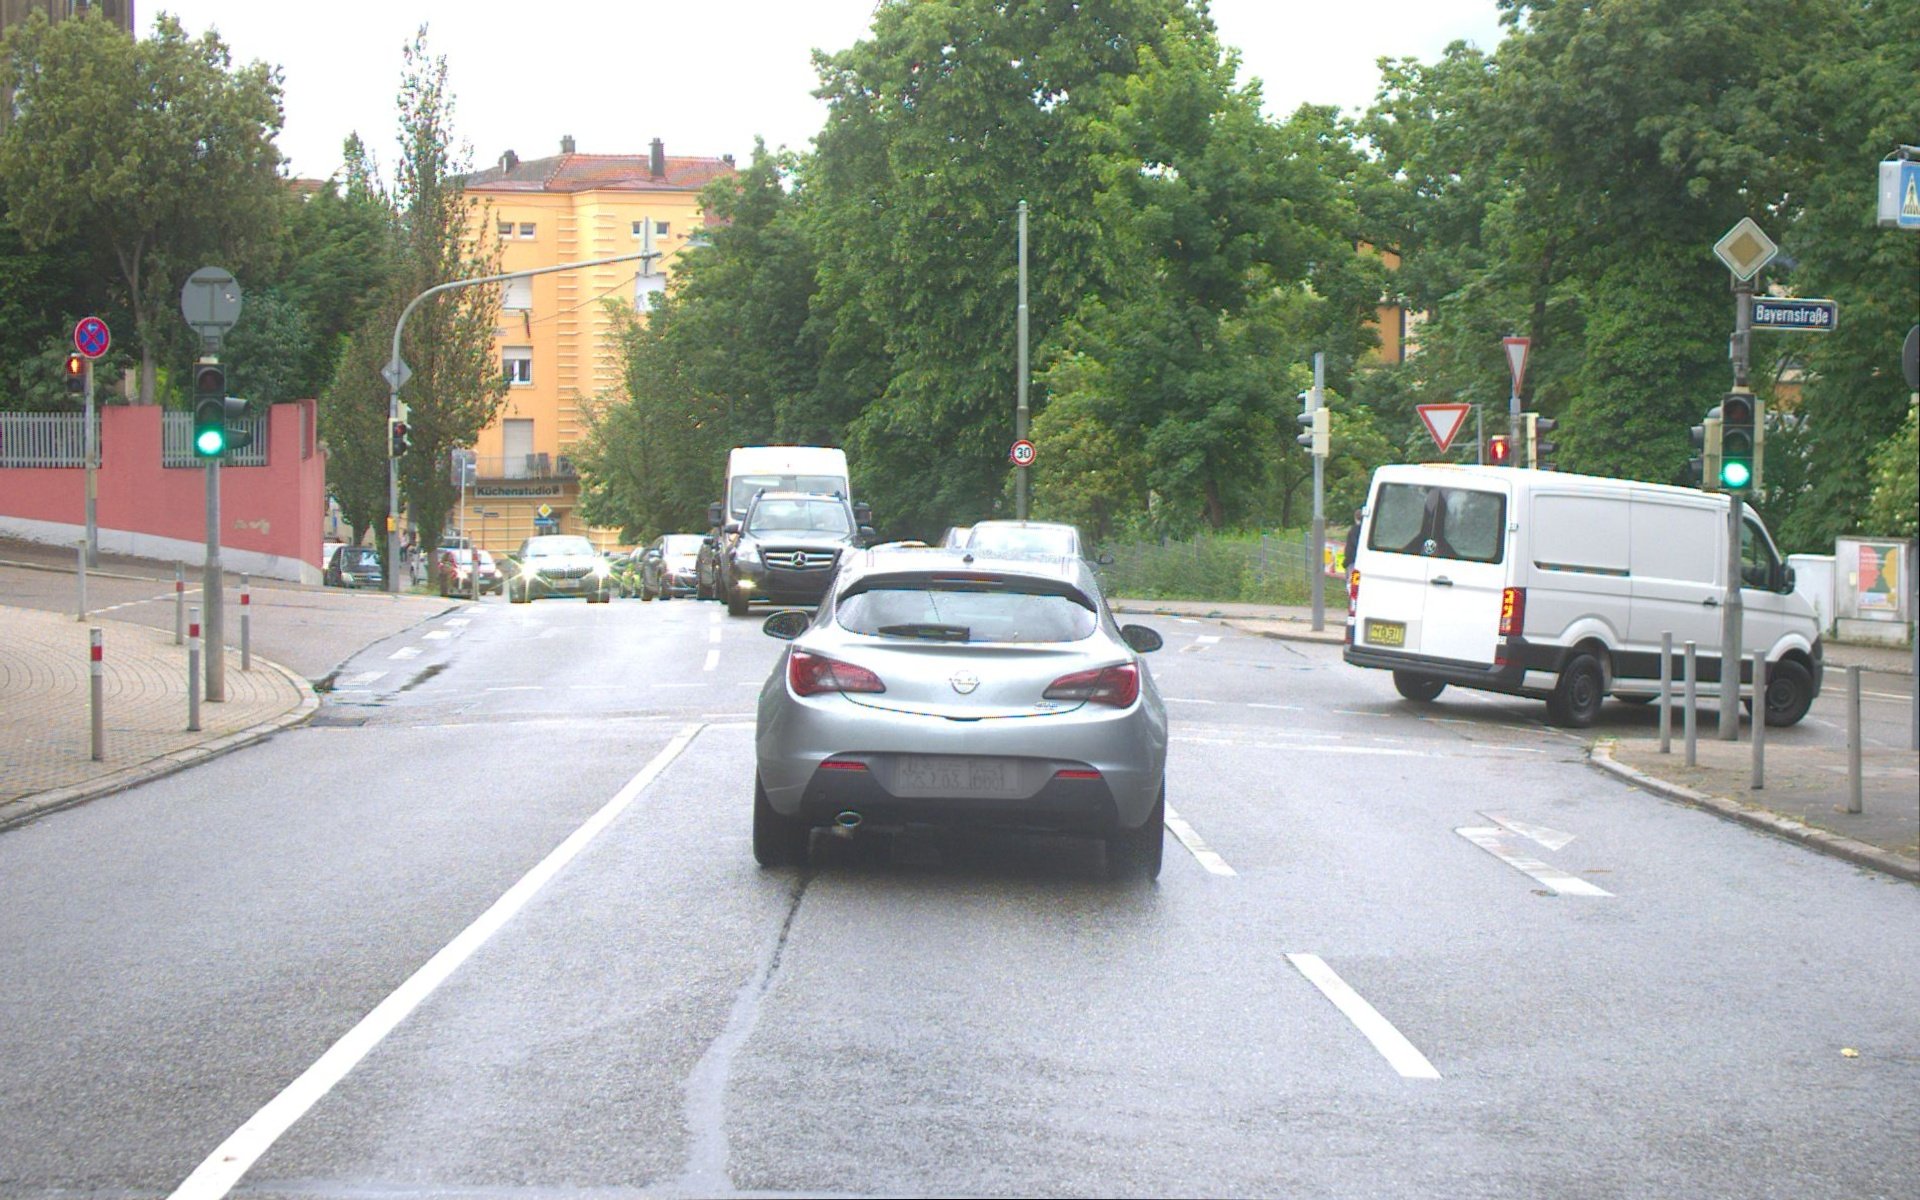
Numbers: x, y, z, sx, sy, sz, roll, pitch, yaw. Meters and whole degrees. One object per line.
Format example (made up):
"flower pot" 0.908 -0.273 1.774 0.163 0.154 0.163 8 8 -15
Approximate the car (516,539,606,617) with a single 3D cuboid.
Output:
"car" -8.473 -0.503 73.209 1.852 1.481 5.369 0 2 -6

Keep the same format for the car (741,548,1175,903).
"car" -0.036 0.504 16.568 1.815 1.425 4.000 1 2 -1

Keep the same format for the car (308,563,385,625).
"car" -16.884 -0.160 94.535 1.814 1.607 4.001 2 0 -13

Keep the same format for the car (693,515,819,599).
"car" -4.057 -0.841 67.758 1.874 1.569 4.587 1 0 -11

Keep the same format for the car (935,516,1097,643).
"car" 0.623 -0.208 40.707 1.776 1.425 3.785 0 -1 -1

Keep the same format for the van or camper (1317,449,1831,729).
"van or camper" 6.070 -0.056 33.486 2.109 2.318 5.403 8 3 43

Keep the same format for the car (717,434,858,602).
"car" -2.803 -1.272 54.836 2.117 2.537 5.540 0 1 -4

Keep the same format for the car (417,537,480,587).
"car" -19.377 -1.421 130.162 1.781 1.848 4.001 1 0 -17

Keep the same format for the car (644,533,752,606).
"car" -5.820 -0.663 75.924 1.773 1.492 4.264 2 0 -12

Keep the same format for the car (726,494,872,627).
"car" -2.179 -0.564 46.009 1.821 1.646 4.347 2 2 -3

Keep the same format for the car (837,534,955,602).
"car" -1.622 -0.779 85.740 1.814 1.490 4.001 -5 1 -16

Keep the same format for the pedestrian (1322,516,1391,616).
"pedestrian" 6.470 -0.556 56.154 0.765 1.600 0.966 -2 1 -16

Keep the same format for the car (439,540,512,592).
"car" -15.796 -1.116 111.947 1.845 1.578 4.280 3 0 -14

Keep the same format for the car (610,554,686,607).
"car" -9.195 -0.583 101.063 1.639 1.531 3.718 0 1 -14

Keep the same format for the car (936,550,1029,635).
"car" 0.369 -0.150 59.847 1.383 1.407 3.457 0 1 -4
